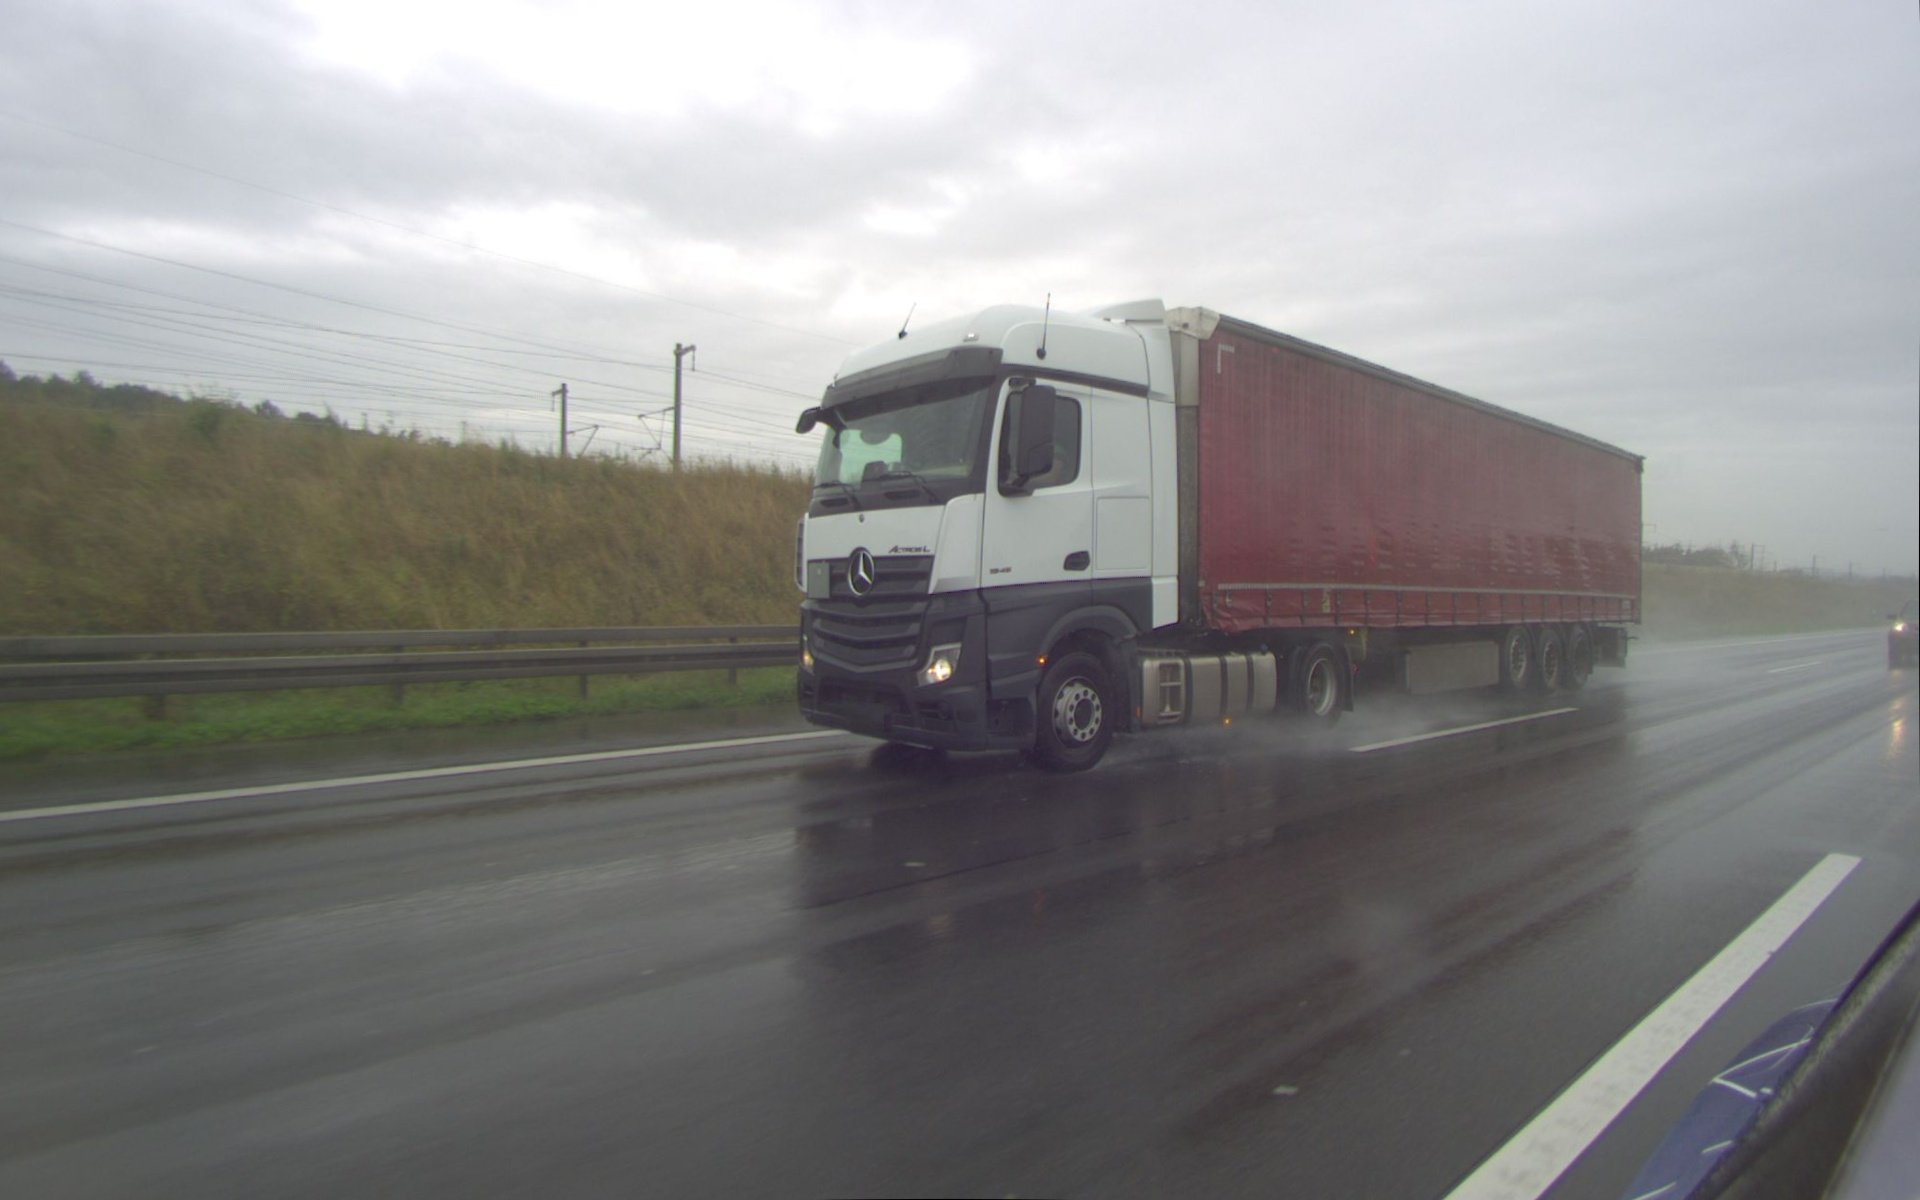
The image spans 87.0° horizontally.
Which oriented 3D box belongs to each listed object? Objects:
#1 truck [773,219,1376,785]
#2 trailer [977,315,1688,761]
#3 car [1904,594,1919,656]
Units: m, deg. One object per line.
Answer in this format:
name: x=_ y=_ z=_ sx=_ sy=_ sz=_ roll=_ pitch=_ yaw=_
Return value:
truck: x=1.444 y=-0.704 z=9.975 sx=6.090 sy=3.938 sz=2.456 roll=0 pitch=0 yaw=-41
trailer: x=7.074 y=-0.575 z=14.979 sx=16.257 sy=3.813 sz=2.484 roll=0 pitch=0 yaw=-41
car: x=25.410 y=0.622 z=25.748 sx=3.769 sy=1.519 sz=1.662 roll=0 pitch=0 yaw=-41
